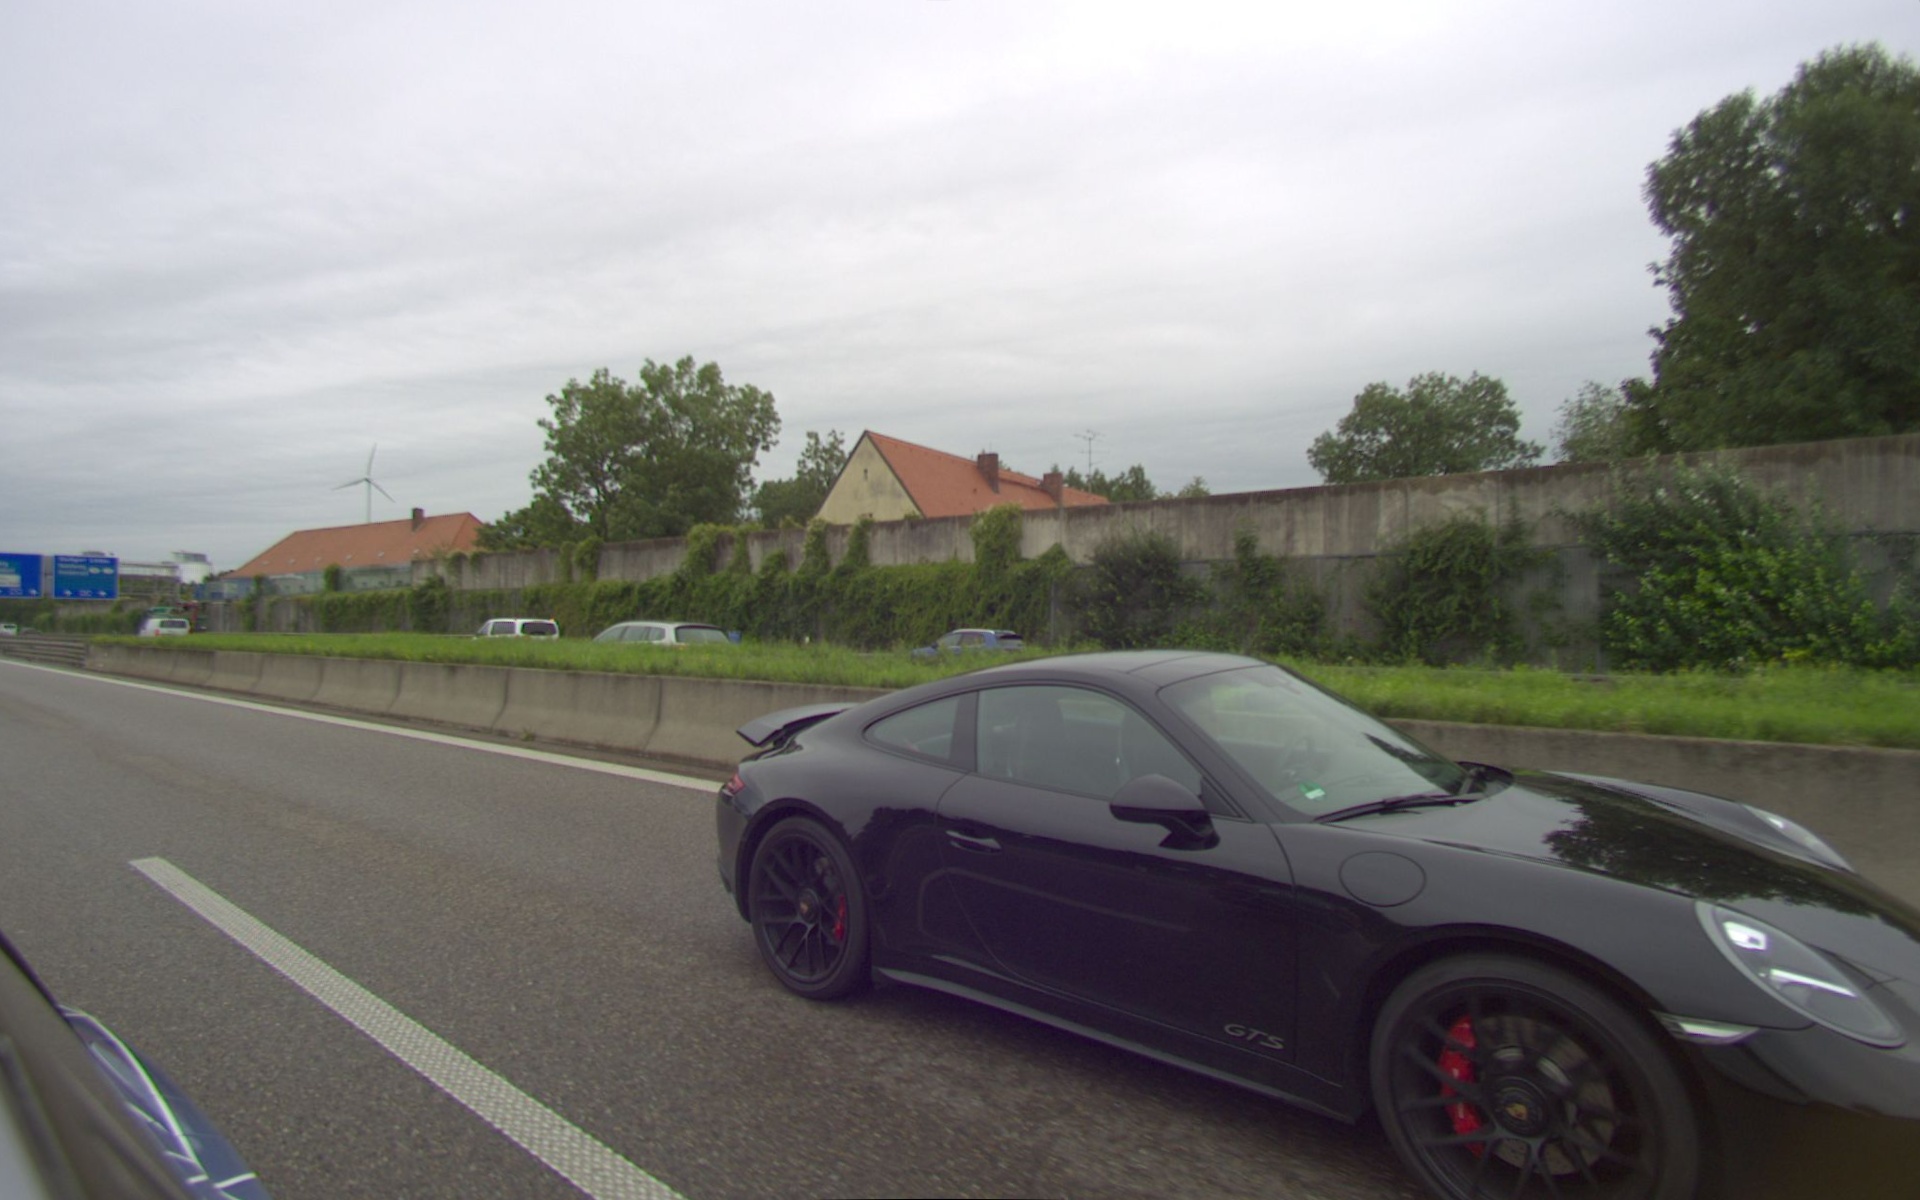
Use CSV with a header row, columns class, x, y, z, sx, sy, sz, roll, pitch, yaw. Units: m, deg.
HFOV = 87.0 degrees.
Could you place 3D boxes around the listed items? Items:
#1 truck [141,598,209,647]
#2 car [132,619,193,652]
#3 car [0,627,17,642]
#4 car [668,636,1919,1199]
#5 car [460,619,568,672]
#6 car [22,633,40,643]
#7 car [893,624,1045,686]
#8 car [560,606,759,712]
class,x,y,z,sx,sy,sz,roll,pitch,yaw
truck,-63.934,1.781,82.380,8.330,3.805,2.664,-1,0,40
car,-50.765,2.234,64.420,5.191,2.029,2.059,-2,-2,40
car,-139.130,5.003,147.467,4.954,2.029,1.973,-1,0,41
car,1.164,0.814,3.320,4.921,1.281,1.634,-1,0,40
car,-18.394,1.804,41.602,5.223,2.029,1.973,-1,0,40
car,-159.116,6.441,173.287,4.521,1.564,1.935,-1,0,43
car,0.231,1.513,28.937,3.995,1.586,1.974,-1,0,39
car,-6.491,1.167,21.633,4.397,2.029,1.974,-1,0,40
